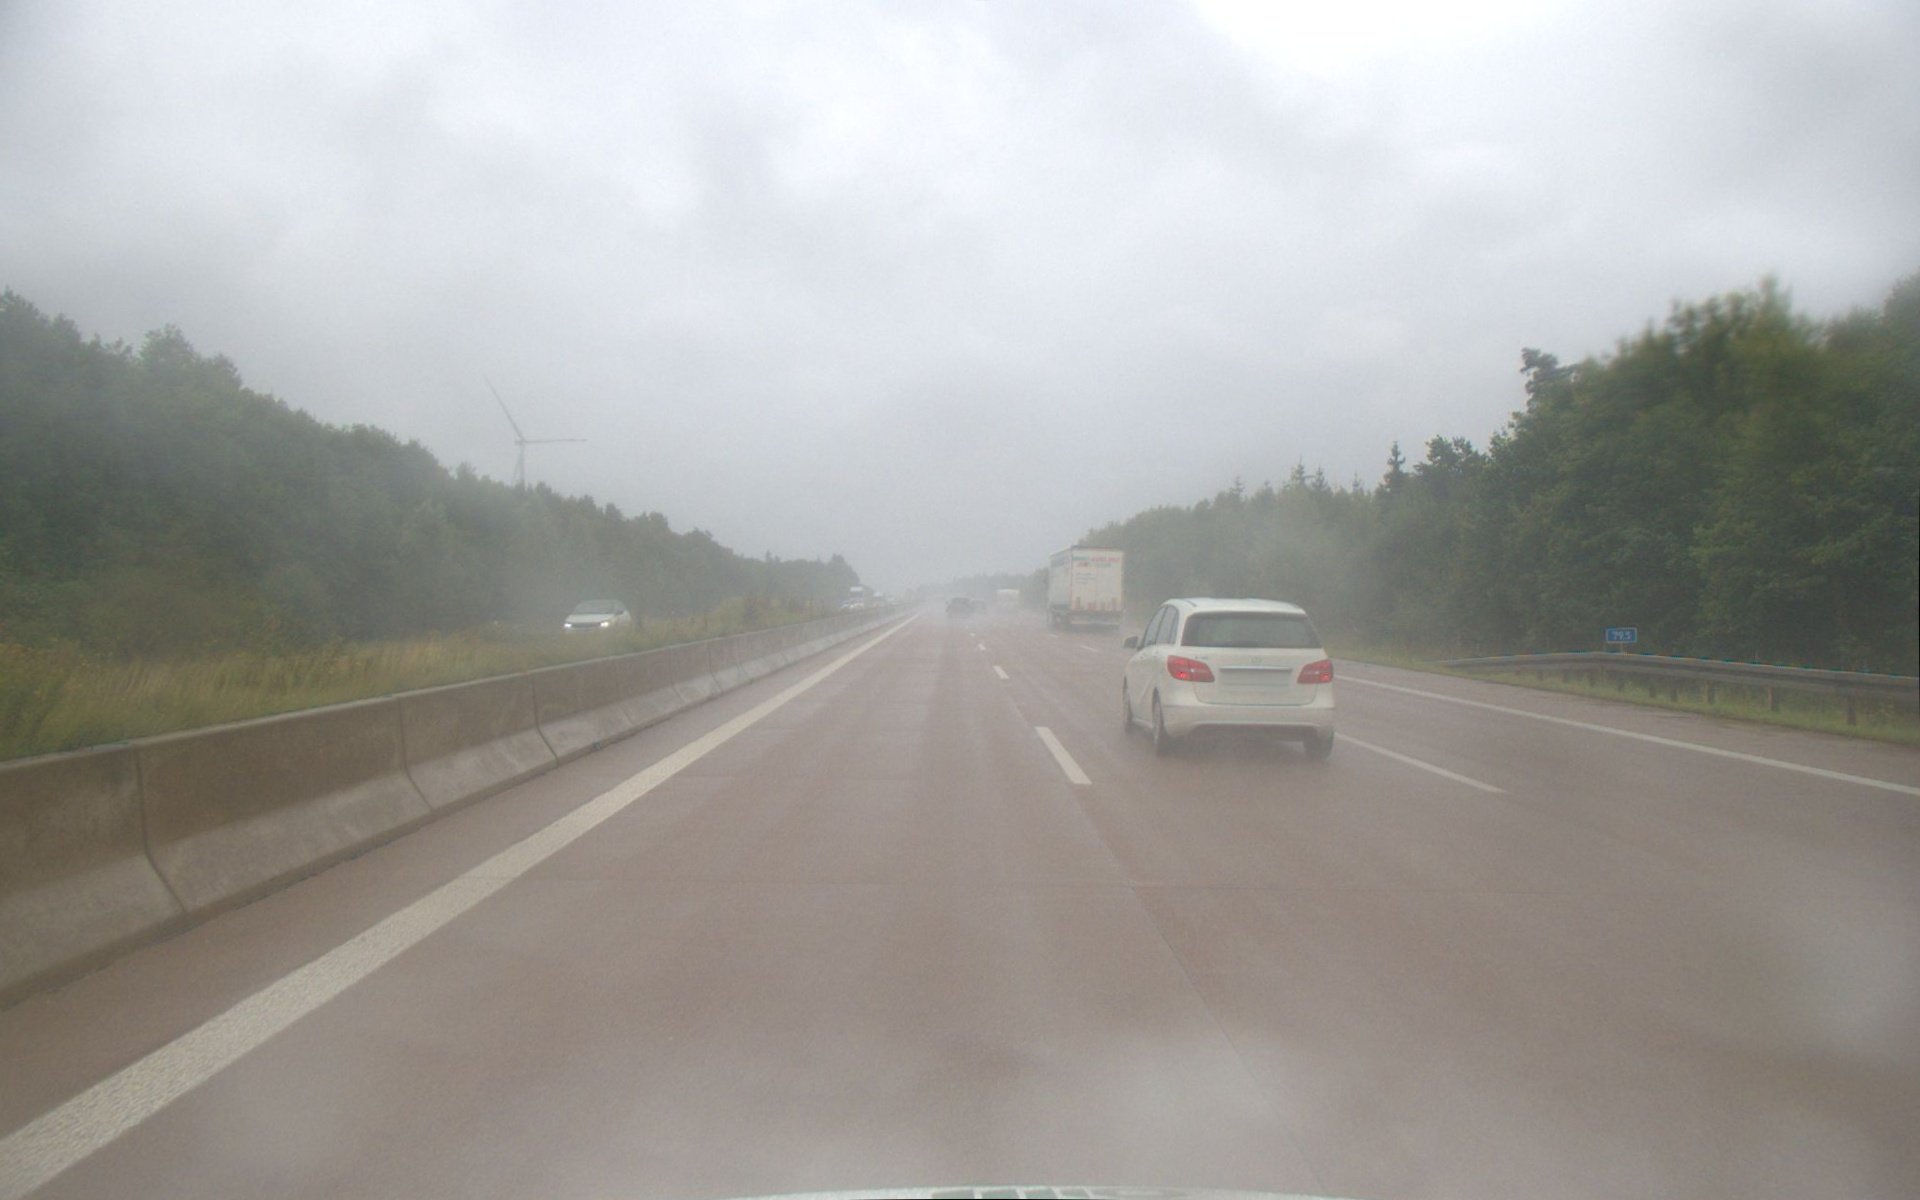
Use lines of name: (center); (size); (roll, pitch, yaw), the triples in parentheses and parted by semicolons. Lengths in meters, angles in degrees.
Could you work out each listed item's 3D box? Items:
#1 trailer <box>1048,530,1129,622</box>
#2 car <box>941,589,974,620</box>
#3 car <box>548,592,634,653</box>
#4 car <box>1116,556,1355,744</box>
trailer: (6.385, -1.133, 84.358); (2.795, 4.305, 13.128); (1, 0, -1)
car: (-0.160, 0.292, 113.765); (2.129, 2.016, 4.129); (2, 0, 0)
car: (-13.097, 0.768, 58.949); (2.046, 2.049, 4.797); (1, 0, -1)
car: (2.862, 0.482, 18.197); (1.771, 1.758, 4.743); (1, 0, -1)
